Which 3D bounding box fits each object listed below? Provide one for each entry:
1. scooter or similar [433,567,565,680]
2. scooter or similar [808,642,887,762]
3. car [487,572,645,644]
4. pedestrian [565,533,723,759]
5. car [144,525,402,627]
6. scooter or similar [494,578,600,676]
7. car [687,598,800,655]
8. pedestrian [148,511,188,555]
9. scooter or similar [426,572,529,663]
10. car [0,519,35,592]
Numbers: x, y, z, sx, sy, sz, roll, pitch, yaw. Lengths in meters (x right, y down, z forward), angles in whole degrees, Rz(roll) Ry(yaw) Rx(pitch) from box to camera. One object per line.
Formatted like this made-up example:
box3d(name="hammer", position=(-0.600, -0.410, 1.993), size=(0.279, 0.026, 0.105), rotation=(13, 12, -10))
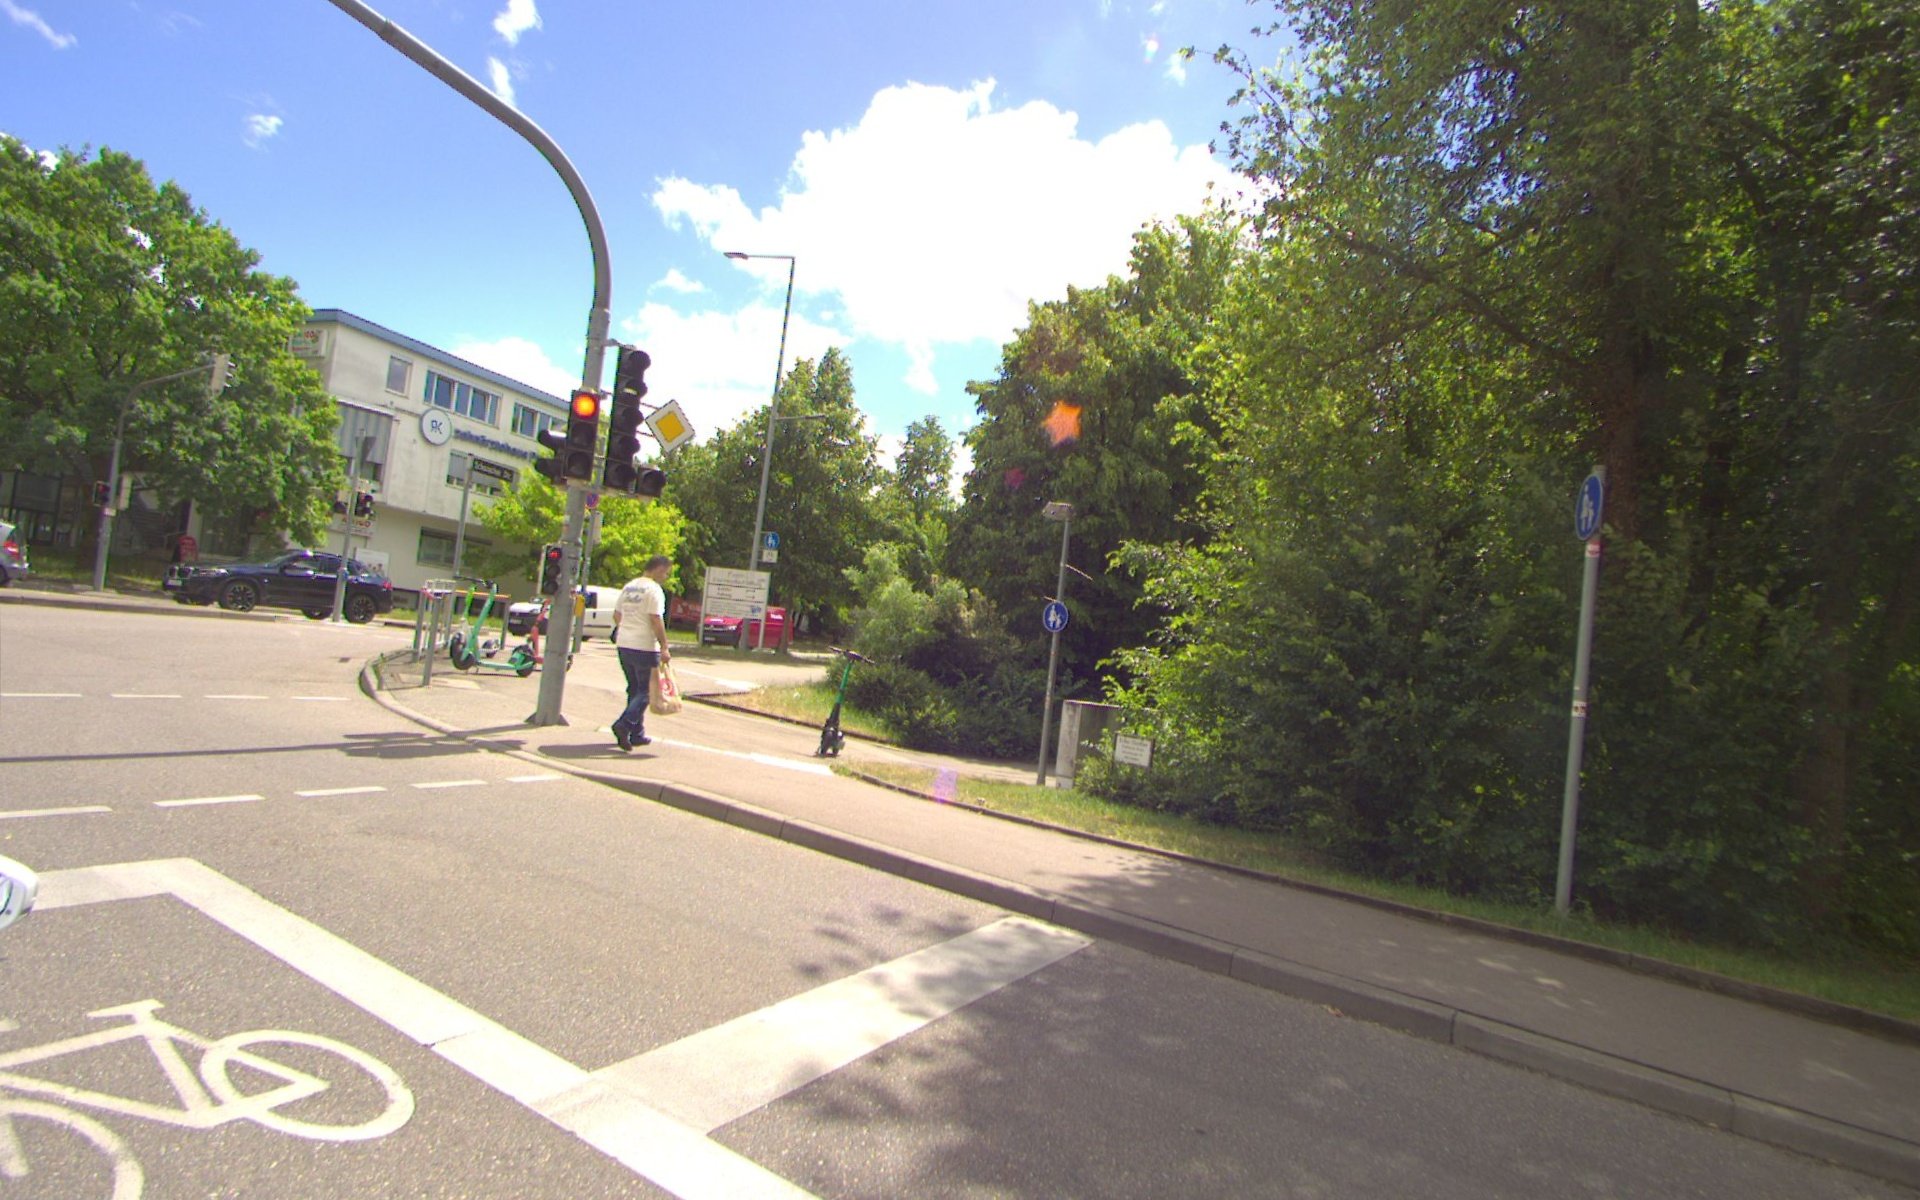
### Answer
box3d(name="scooter or similar", position=(-5.932, 0.329, 13.008), size=(0.455, 1.292, 1.344), rotation=(8, -1, 38))
box3d(name="scooter or similar", position=(-1.394, 1.246, 12.273), size=(0.706, 1.287, 1.243), rotation=(10, -7, -8))
box3d(name="car", position=(-12.539, 0.325, 32.371), size=(1.963, 1.737, 4.576), rotation=(7, -2, 22))
box3d(name="pedestrian", position=(-2.774, 0.413, 8.898), size=(0.729, 1.829, 0.871), rotation=(7, -1, 24))
box3d(name="car", position=(-16.070, -0.484, 23.843), size=(1.964, 1.737, 4.574), rotation=(7, -2, 25))
box3d(name="scooter or similar", position=(-5.987, 0.410, 14.641), size=(0.547, 1.254, 1.231), rotation=(8, -3, 23))
box3d(name="car", position=(-8.725, 1.133, 41.035), size=(1.964, 1.885, 4.822), rotation=(5, -3, 22))
box3d(name="pedestrian", position=(-32.748, -2.765, 41.620), size=(0.890, 1.662, 0.771), rotation=(7, -1, 19))
box3d(name="scooter or similar", position=(-7.002, 0.277, 14.668), size=(0.533, 1.168, 1.362), rotation=(9, -3, 7))
box3d(name="car", position=(-23.506, -1.269, 22.538), size=(3.895, 1.573, 1.977), rotation=(10, -3, -41))
